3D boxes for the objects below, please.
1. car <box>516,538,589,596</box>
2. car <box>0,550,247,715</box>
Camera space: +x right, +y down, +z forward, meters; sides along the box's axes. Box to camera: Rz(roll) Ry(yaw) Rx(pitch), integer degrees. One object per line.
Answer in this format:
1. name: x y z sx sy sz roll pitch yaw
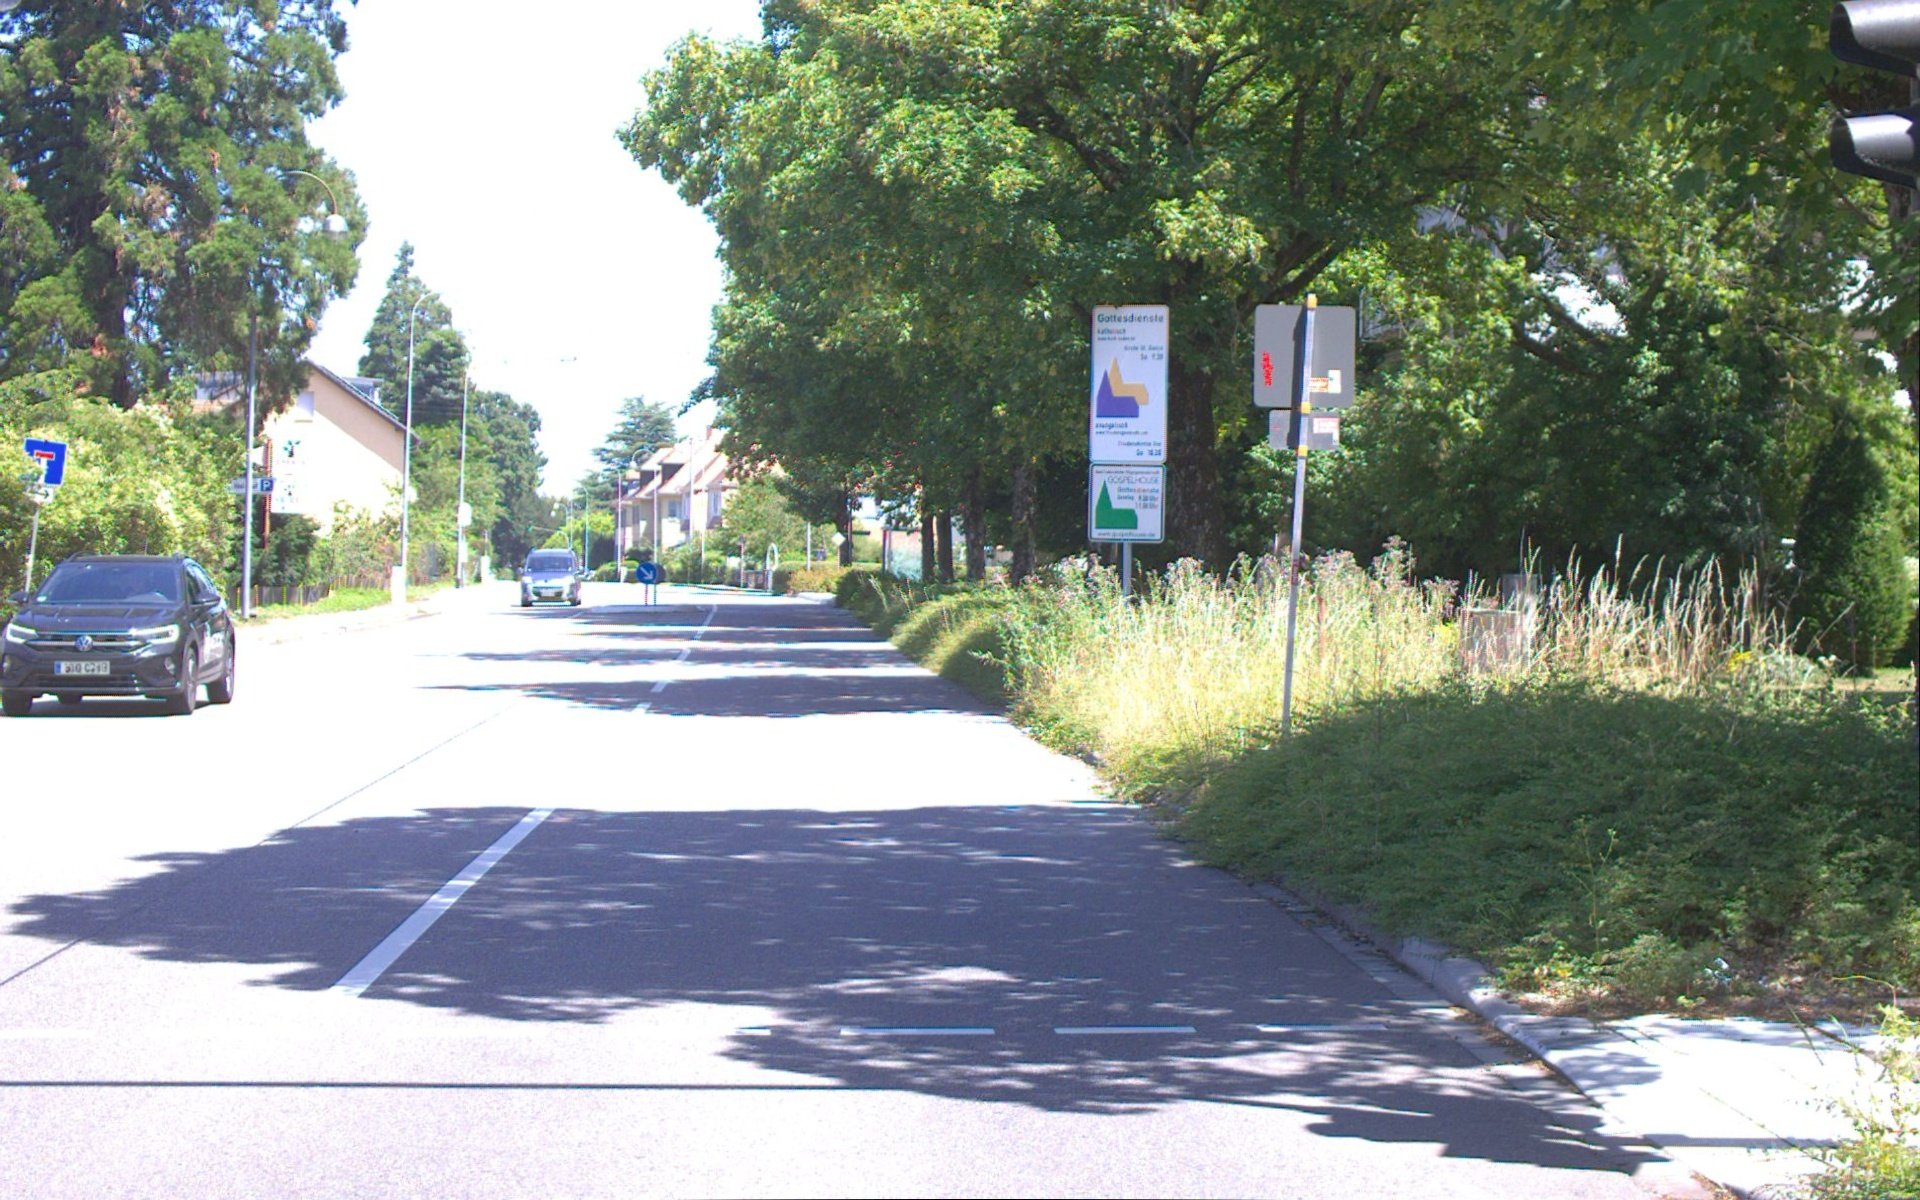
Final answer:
1. car: -12.799 -1.064 108.274 1.811 1.756 4.570 1 1 -1
2. car: -8.101 0.268 33.272 1.869 1.501 4.053 0 1 -5
